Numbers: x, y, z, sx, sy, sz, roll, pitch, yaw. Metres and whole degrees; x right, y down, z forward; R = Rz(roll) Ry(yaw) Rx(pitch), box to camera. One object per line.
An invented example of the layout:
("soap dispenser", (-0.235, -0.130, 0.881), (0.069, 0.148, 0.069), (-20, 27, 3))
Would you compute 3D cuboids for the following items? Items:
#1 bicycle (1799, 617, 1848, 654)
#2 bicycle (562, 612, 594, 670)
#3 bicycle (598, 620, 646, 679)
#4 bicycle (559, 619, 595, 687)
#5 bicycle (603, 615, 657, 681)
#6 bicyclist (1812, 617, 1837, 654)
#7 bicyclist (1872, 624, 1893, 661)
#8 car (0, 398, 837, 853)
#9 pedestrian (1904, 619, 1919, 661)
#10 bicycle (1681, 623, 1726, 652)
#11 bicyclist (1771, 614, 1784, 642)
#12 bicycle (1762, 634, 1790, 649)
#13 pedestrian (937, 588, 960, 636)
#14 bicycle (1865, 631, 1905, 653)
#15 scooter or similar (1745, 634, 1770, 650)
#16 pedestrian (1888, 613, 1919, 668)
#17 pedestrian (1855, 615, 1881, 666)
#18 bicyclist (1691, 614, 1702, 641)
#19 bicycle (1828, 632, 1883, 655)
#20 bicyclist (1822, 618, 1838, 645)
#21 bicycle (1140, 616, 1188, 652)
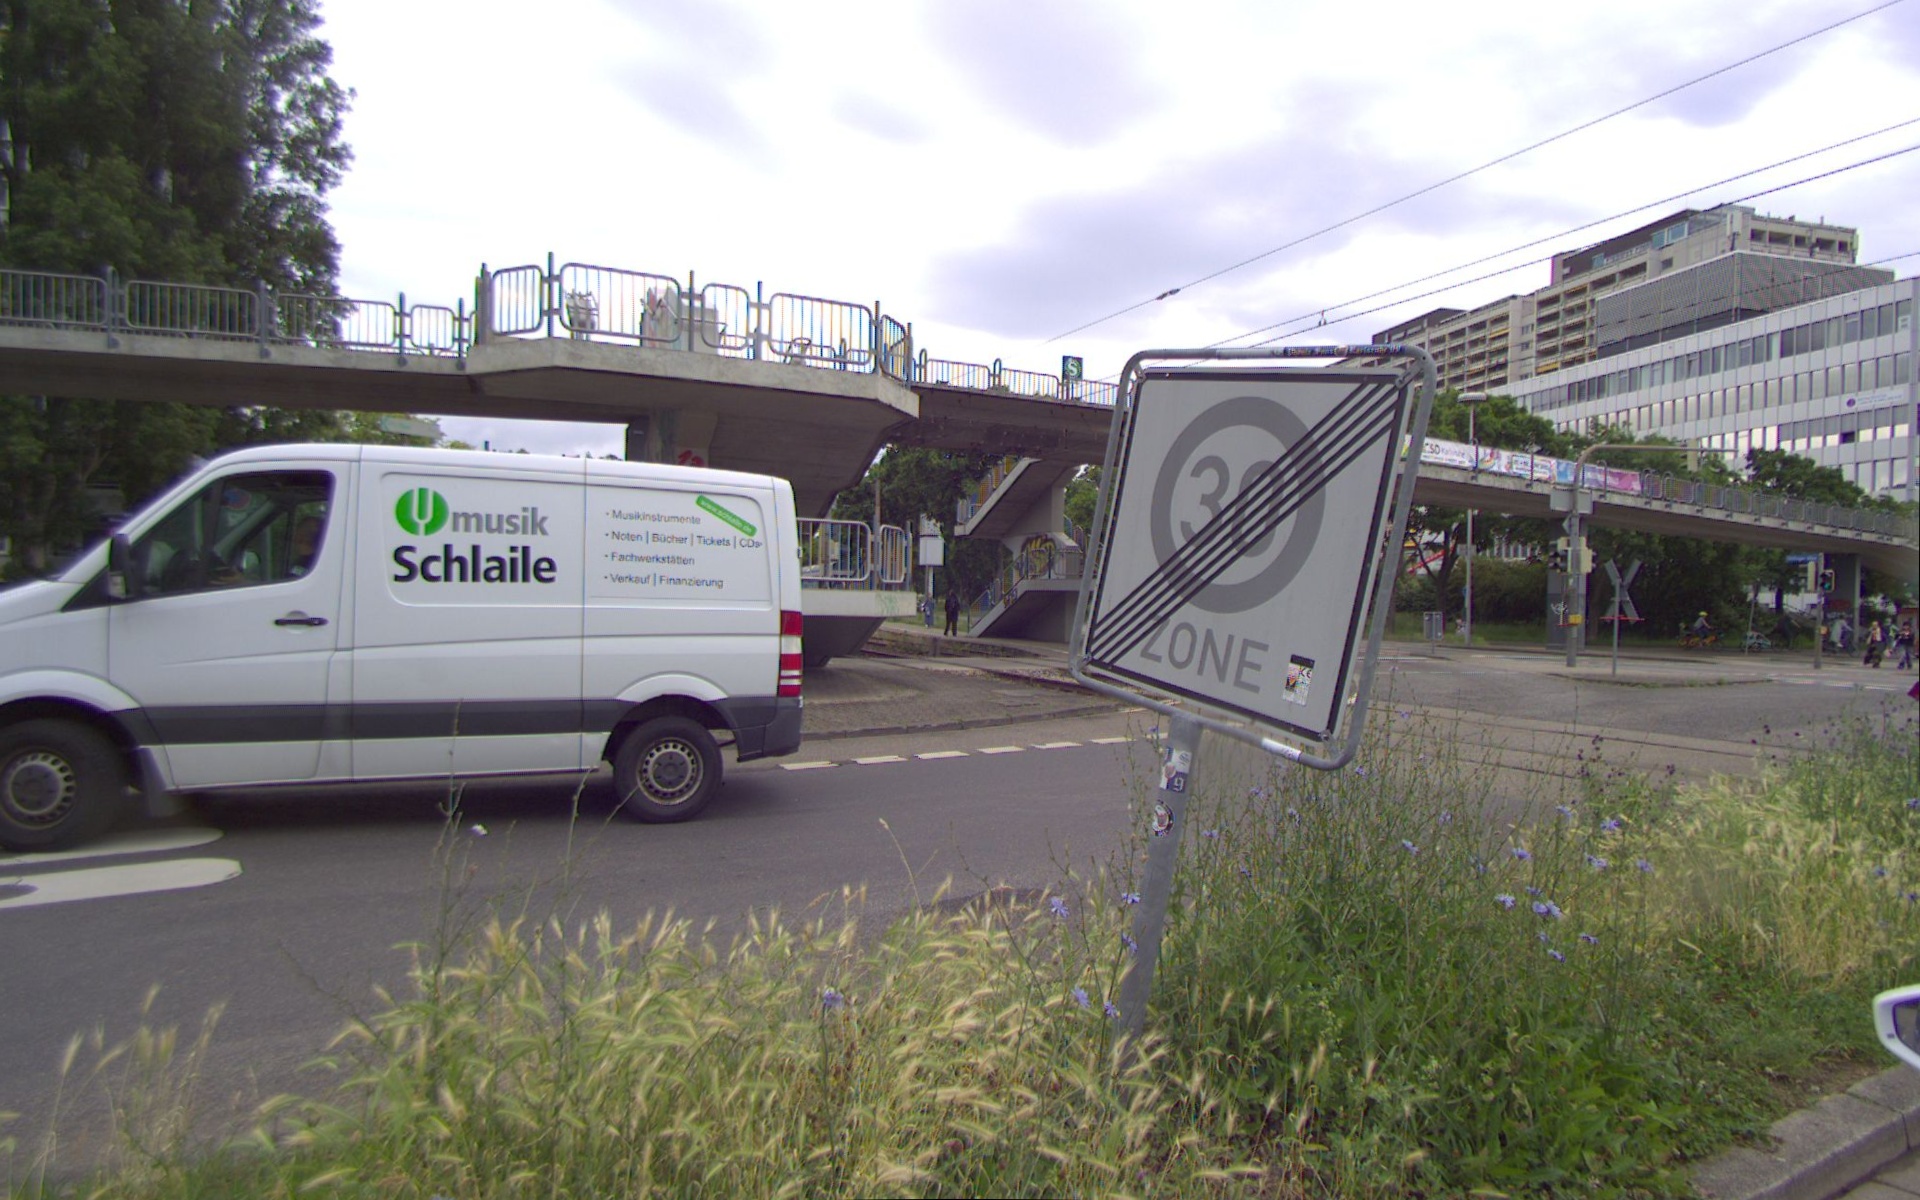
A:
("bicycle", (38.970, 1.609, 45.310), (2.328, 1.647, 0.525), (1, 1, -18))
("bicycle", (-6.367, 0.661, 16.731), (0.389, 0.897, 1.632), (1, 0, -24))
("bicycle", (-5.657, 0.805, 16.766), (0.390, 0.897, 1.627), (1, 0, -32))
("bicycle", (-5.636, 0.754, 14.762), (0.389, 0.897, 1.632), (1, 0, -24))
("bicycle", (-4.912, 0.690, 15.031), (0.387, 0.897, 1.741), (1, 0, -6))
("bicyclist", (39.043, 1.611, 45.357), (0.738, 1.647, 0.526), (1, 1, -18))
("bicyclist", (42.391, 1.945, 46.167), (0.525, 1.666, 0.562), (2, 0, -29))
("car", (-3.648, 0.190, 6.872), (5.136, 2.323, 2.128), (2, 0, -24))
("pedestrian", (37.438, 1.572, 39.366), (0.572, 1.600, 0.777), (2, 0, 42))
("bicycle", (35.737, 1.784, 48.302), (1.682, 1.321, 0.387), (1, 1, 36))
("bicyclist", (39.147, 1.357, 48.106), (0.377, 1.321, 0.278), (1, 1, -13))
("bicycle", (39.093, 1.979, 48.107), (1.275, 0.701, 0.289), (1, 1, -13))
("pedestrian", (-0.422, 0.426, 35.850), (0.593, 1.664, 0.659), (1, 1, -25))
("bicycle", (42.503, 1.916, 46.143), (2.493, 0.938, 0.628), (1, 1, -31))
("scooter or similar", (38.001, 1.988, 47.869), (0.979, 0.724, 0.405), (1, 0, -11))
("pedestrian", (31.784, 1.353, 33.814), (0.795, 1.828, 0.632), (1, 1, -39))
("pedestrian", (30.954, 1.383, 34.241), (0.402, 1.714, 0.612), (1, 1, -43))
("bicyclist", (35.544, 1.320, 48.449), (0.400, 1.270, 0.276), (2, 1, 36))
("bicycle", (39.745, 1.909, 44.591), (1.917, 0.962, 0.763), (1, 0, -8))
("bicyclist", (39.160, 1.397, 45.207), (0.372, 1.197, 0.403), (0, 1, -28))
("bicycle", (5.806, 0.955, 28.708), (0.368, 0.934, 2.029), (1, 0, -18))
